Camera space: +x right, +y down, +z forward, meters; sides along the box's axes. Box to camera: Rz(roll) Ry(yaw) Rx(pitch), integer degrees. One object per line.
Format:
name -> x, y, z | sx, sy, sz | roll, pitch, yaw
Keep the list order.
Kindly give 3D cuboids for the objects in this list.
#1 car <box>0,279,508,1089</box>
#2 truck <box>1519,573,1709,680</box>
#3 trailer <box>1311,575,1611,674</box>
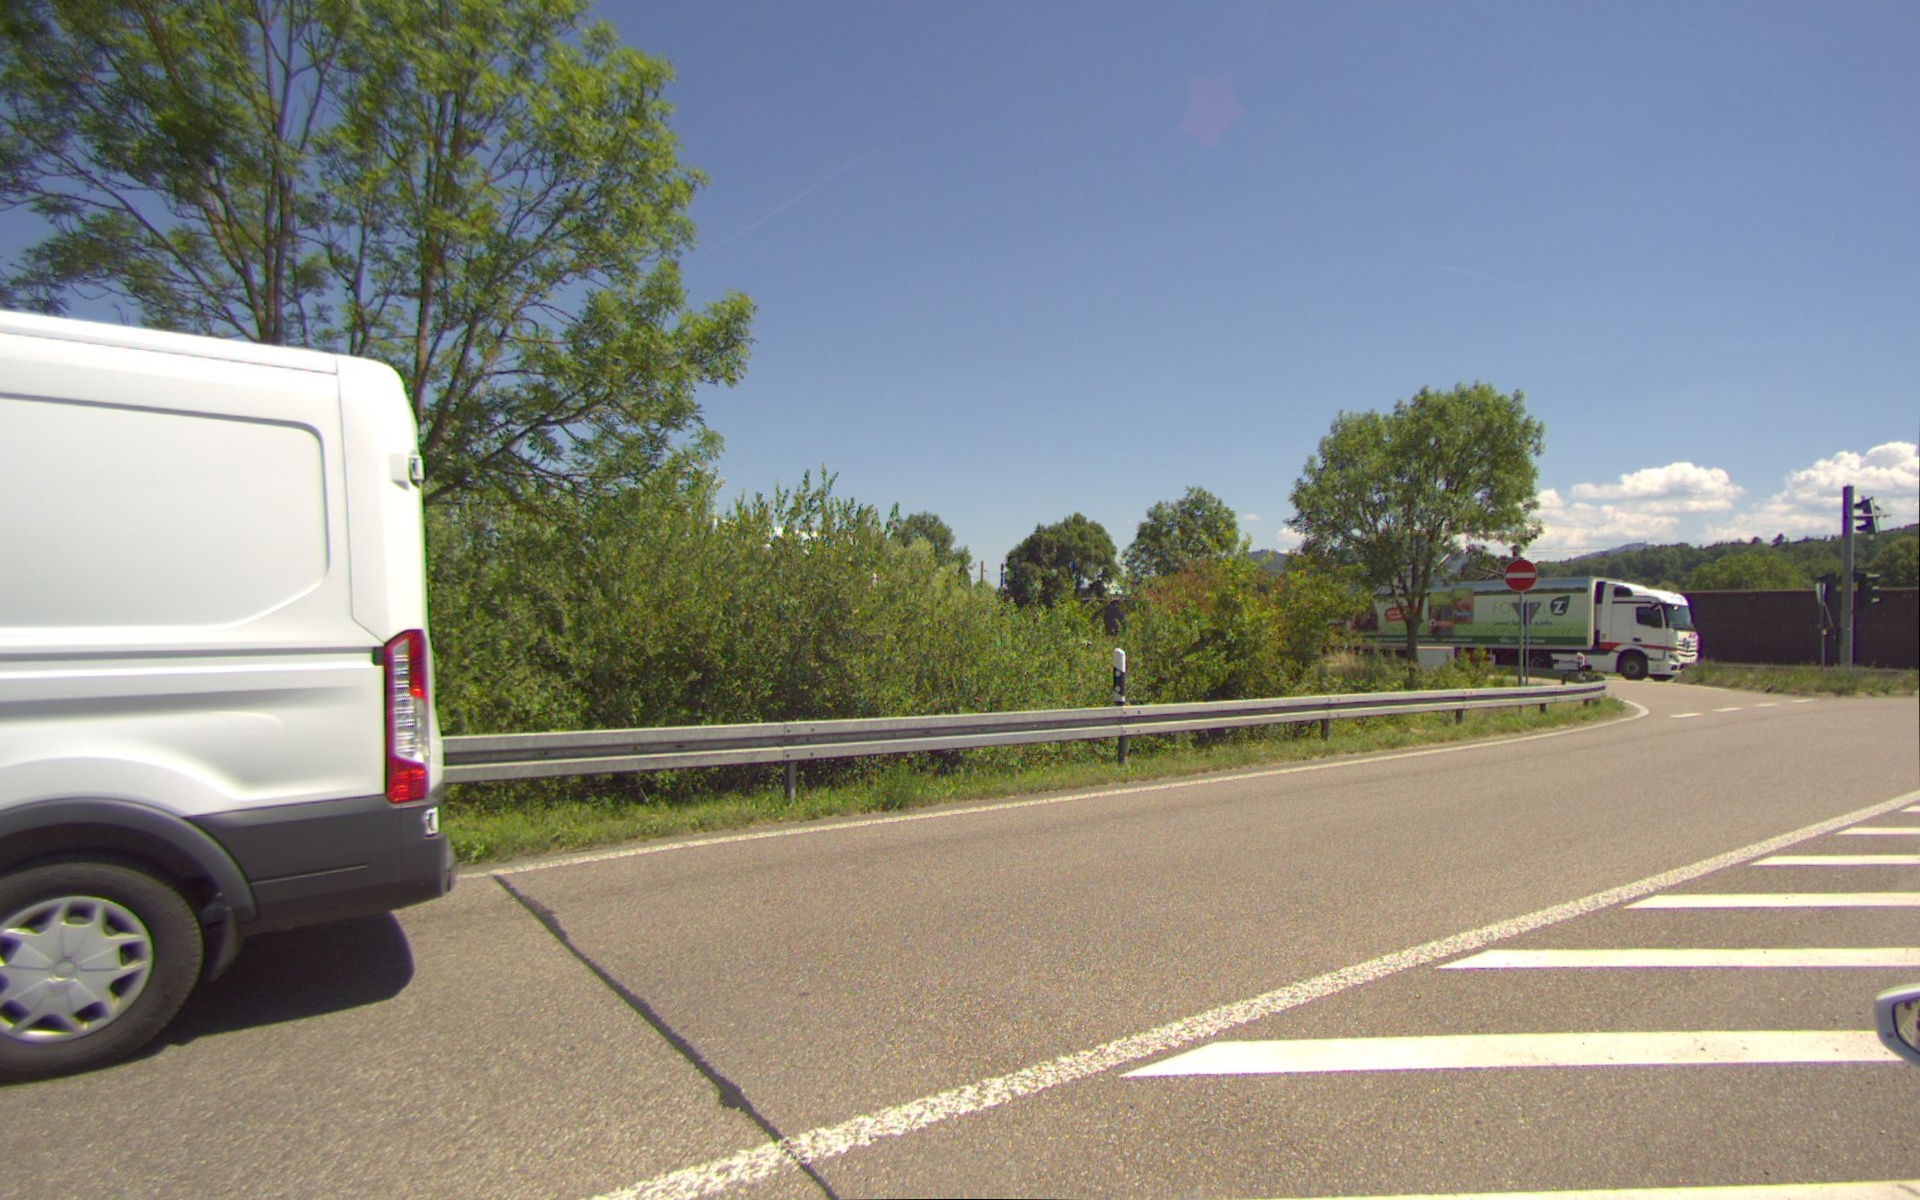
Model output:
car -> -4.577, 0.234, 3.105 | 5.532, 2.448, 1.982 | 2, -2, -34
truck -> 26.526, 1.043, 40.969 | 3.027, 4.007, 5.736 | 2, -1, -31
trailer -> 22.830, 1.047, 47.202 | 3.027, 4.007, 13.074 | 2, -1, -31
